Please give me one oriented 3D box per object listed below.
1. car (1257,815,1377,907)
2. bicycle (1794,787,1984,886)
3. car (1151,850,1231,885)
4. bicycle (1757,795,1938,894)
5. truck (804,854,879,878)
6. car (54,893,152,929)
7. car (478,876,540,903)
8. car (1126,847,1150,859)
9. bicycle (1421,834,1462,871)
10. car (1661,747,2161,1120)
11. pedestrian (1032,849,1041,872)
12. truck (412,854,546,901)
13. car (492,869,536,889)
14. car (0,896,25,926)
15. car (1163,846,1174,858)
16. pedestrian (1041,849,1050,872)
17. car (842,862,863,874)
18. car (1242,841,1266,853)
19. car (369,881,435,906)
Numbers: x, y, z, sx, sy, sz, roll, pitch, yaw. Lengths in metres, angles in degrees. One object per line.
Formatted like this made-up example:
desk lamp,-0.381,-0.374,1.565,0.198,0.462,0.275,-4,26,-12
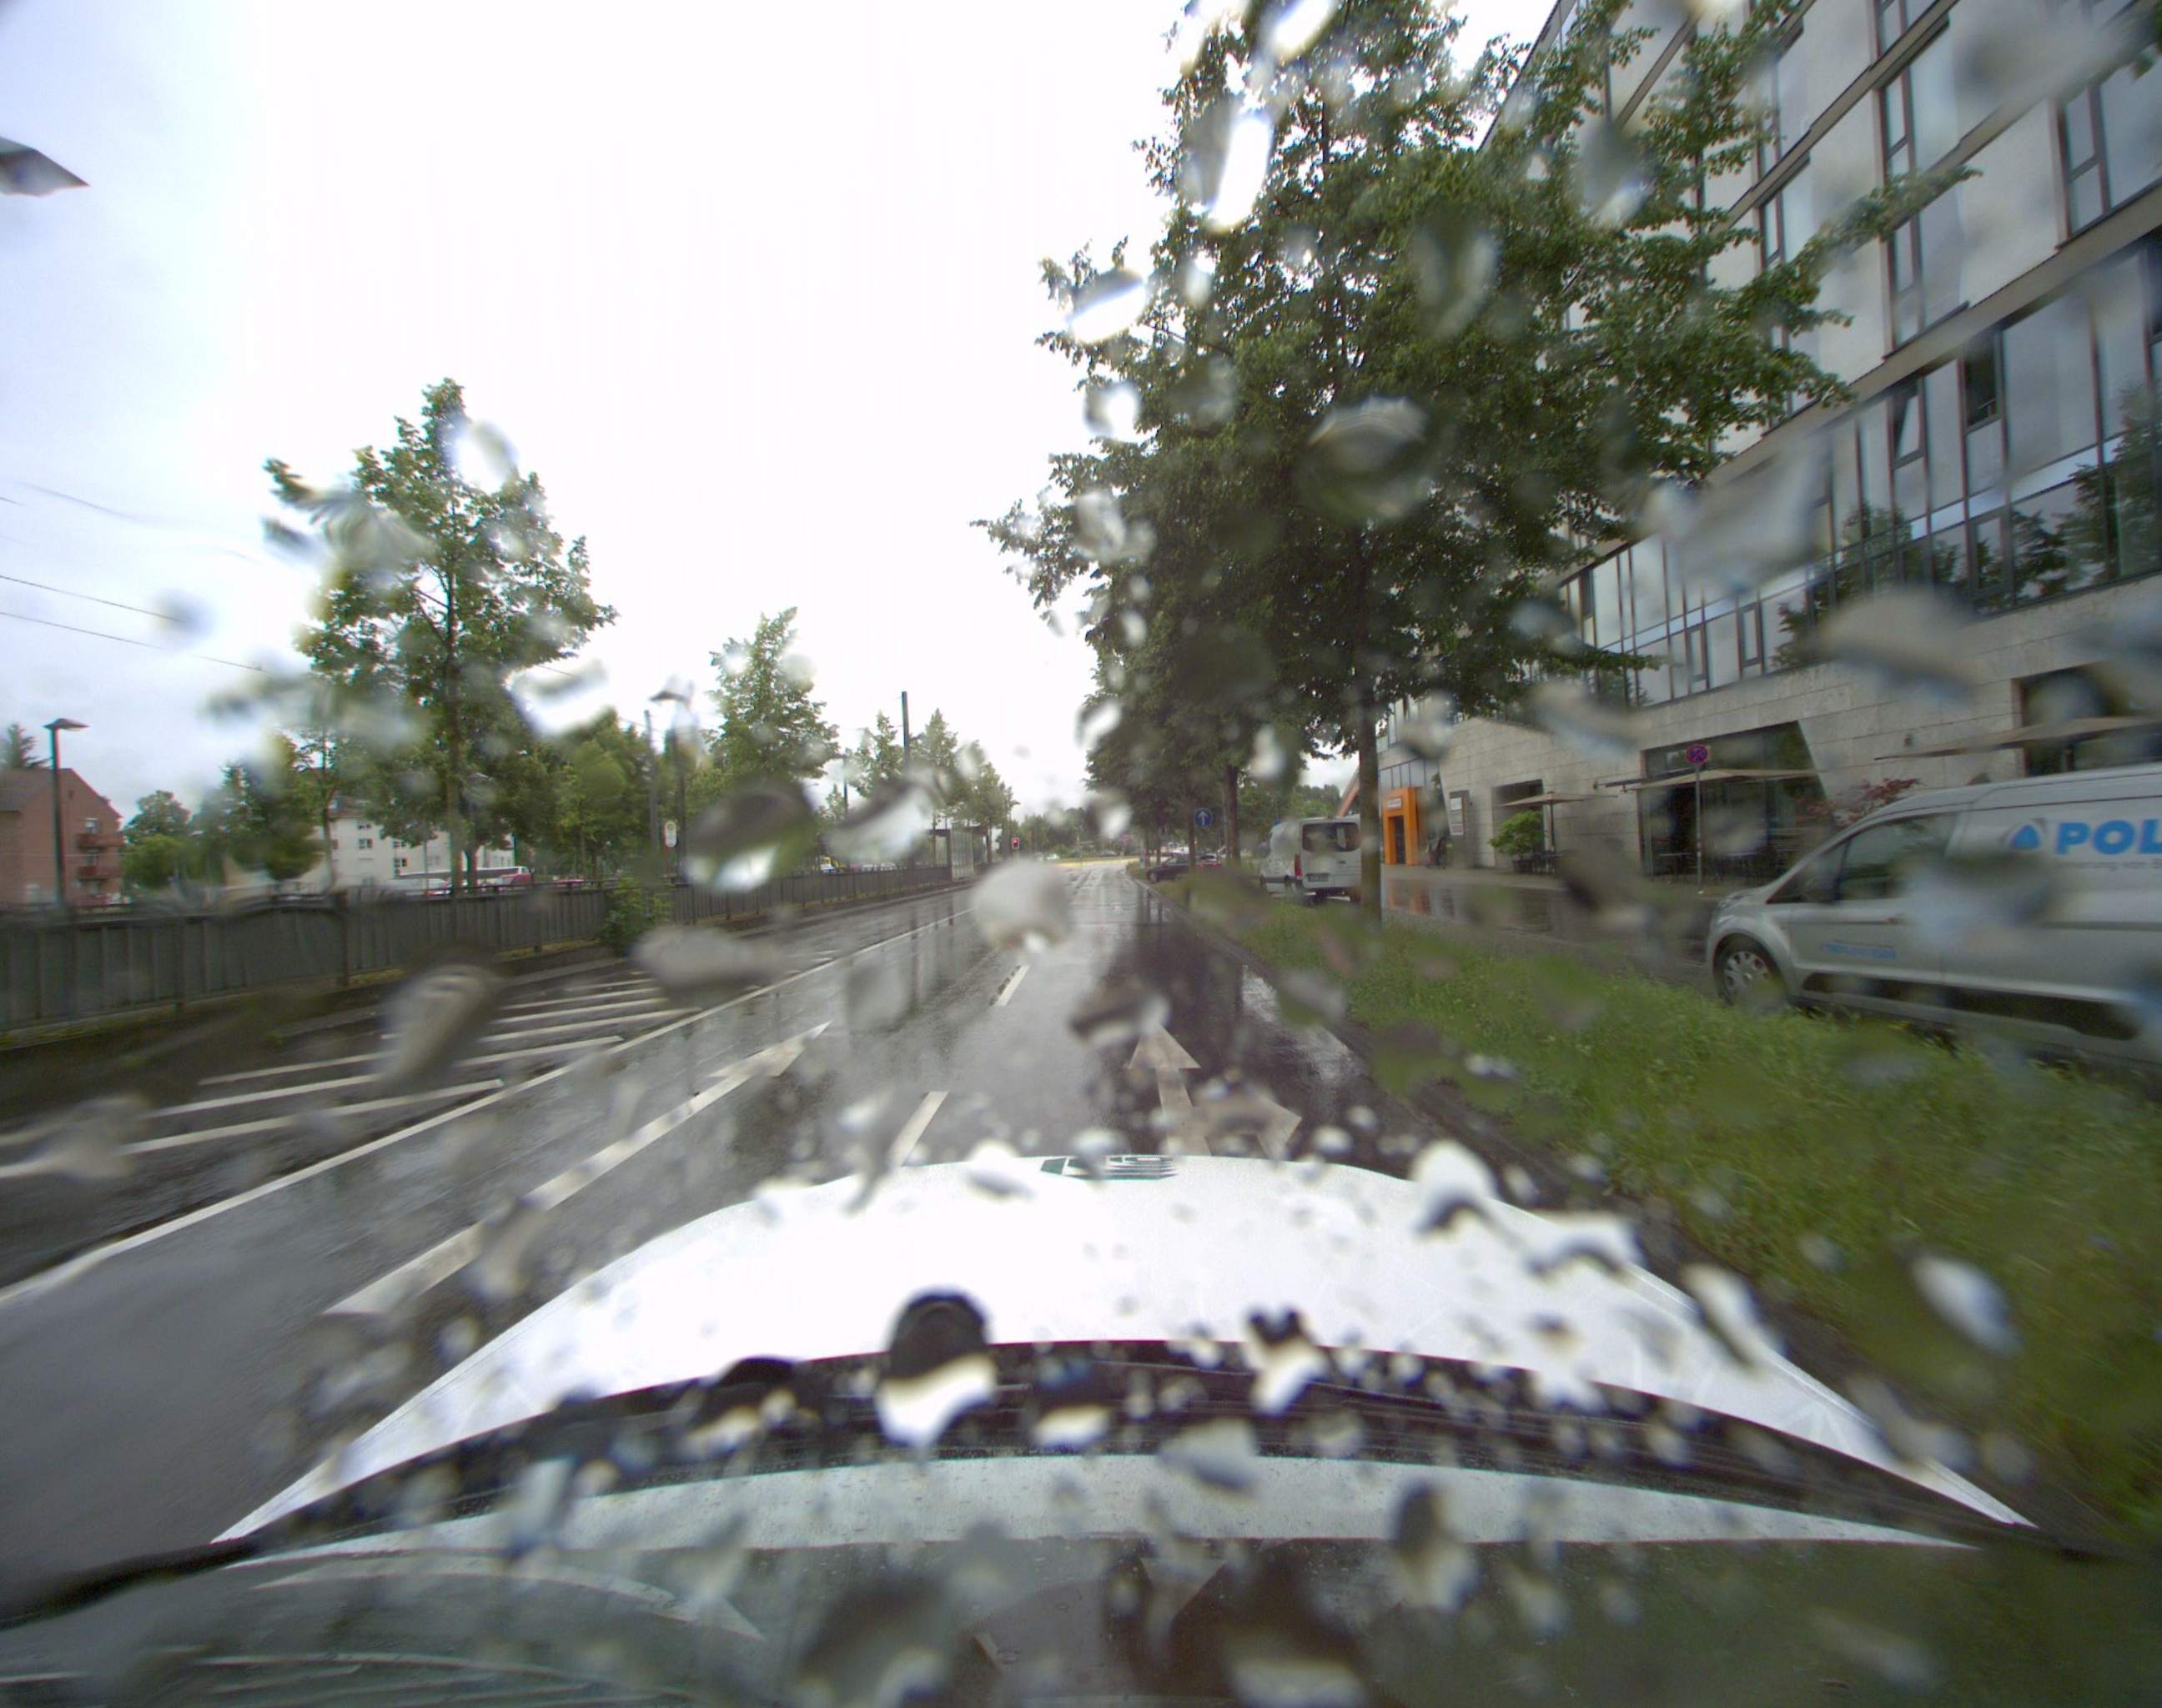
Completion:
car,6.644,0.180,23.499,2.113,2.274,4.566,-4,0,1
bicycle,15.681,-0.372,15.987,0.642,1.722,3.121,-4,2,1
car,5.413,0.627,40.450,1.827,1.545,3.961,-5,2,-31
bicycle,14.942,-0.234,16.062,0.642,1.722,3.121,-4,2,1
truck,-37.491,1.811,128.612,3.484,3.147,14.974,-3,0,17
car,-70.296,4.077,58.657,1.986,2.013,4.002,-4,2,1
car,-49.860,3.057,71.058,1.978,2.013,4.018,-3,0,17
car,9.396,-0.141,134.246,3.411,1.837,1.728,-2,2,32
bicycle,16.566,-0.104,37.462,0.663,1.534,2.766,-4,2,2
car,6.131,0.324,4.933,1.899,1.791,4.690,-4,0,1
pedestrian,-4.084,0.607,74.990,0.695,2.013,0.656,-4,2,1
truck,-73.649,2.803,100.094,12.516,4.591,3.374,-5,2,-26
car,-62.384,2.741,89.632,3.547,1.738,1.693,-5,2,-23
car,-78.733,4.250,57.017,2.074,2.013,5.386,-3,2,9
car,13.652,-0.338,127.316,1.616,1.699,3.461,-4,2,5
pedestrian,-3.325,0.608,76.034,0.695,2.013,0.656,-4,2,1
car,-39.100,2.399,139.354,1.640,1.756,3.934,-3,2,15
car,27.897,-1.078,131.273,3.411,1.699,1.639,-2,2,32
car,-63.031,3.622,75.699,1.978,2.013,4.234,-3,0,17
